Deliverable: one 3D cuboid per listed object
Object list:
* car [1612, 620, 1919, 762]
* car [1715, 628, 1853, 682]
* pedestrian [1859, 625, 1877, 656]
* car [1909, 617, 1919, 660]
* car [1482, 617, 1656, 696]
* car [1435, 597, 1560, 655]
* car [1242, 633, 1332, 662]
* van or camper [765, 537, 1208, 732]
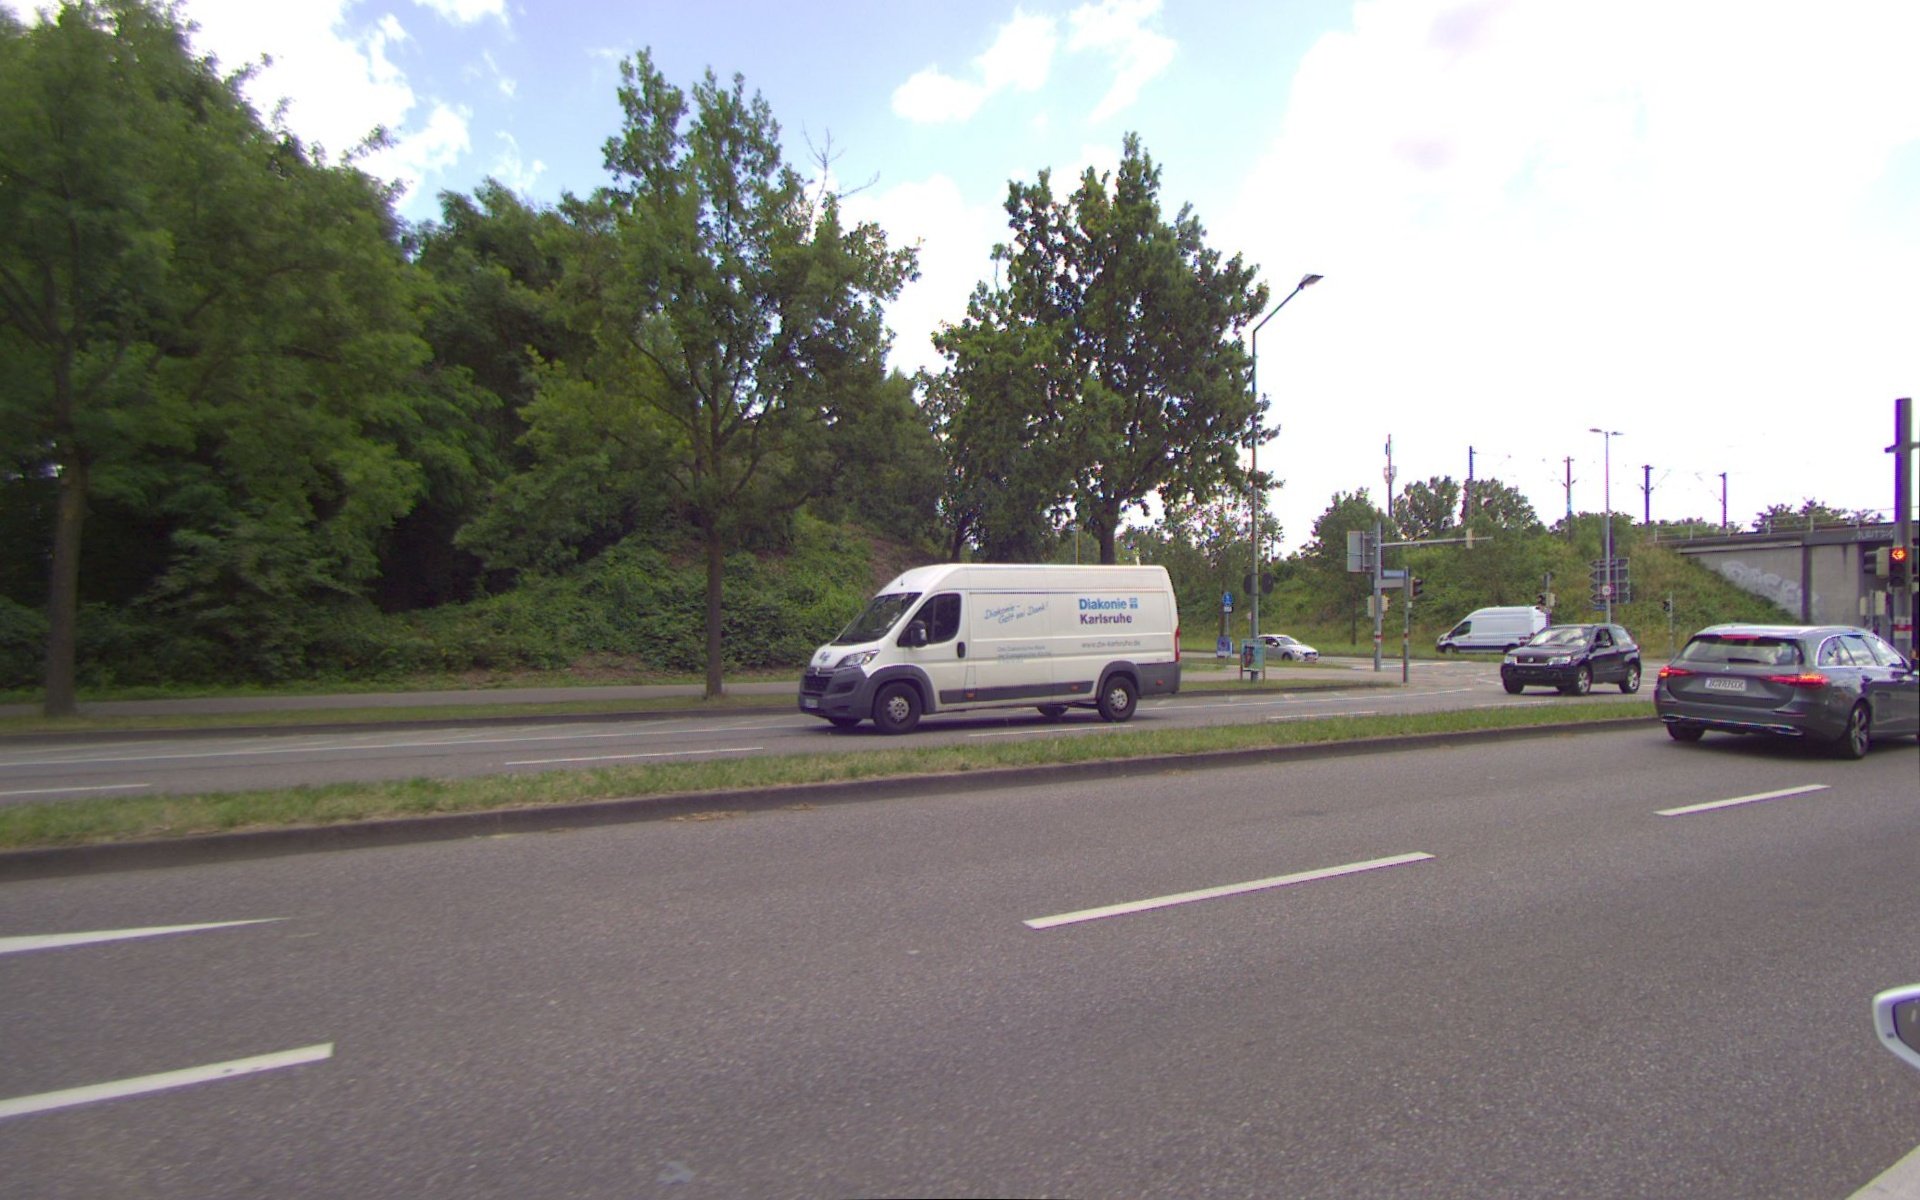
[{"bbox_3d":[10.431,0.994,12.512,4.776,1.434,1.983,1,0,-31],"label":"car"},{"bbox_3d":[25.491,1.671,31.059,3.949,1.550,1.918,1,-1,-28],"label":"car"},{"bbox_3d":[49.395,2.194,54.617,0.550,1.703,0.587,1,-1,-33],"label":"pedestrian"},{"bbox_3d":[47.938,1.862,48.459,3.951,2.040,1.985,1,-2,-29],"label":"car"},{"bbox_3d":[14.999,1.343,24.694,4.173,1.789,1.983,1,-2,-32],"label":"car"},{"bbox_3d":[28.194,1.366,52.859,2.366,2.859,5.358,1,-2,-38],"label":"car"},{"bbox_3d":[16.473,2.359,50.841,1.972,1.397,4.298,1,-2,-24],"label":"car"},{"bbox_3d":[0.608,0.522,16.101,6.985,2.573,2.339,1,-1,-32],"label":"van or camper"}]
